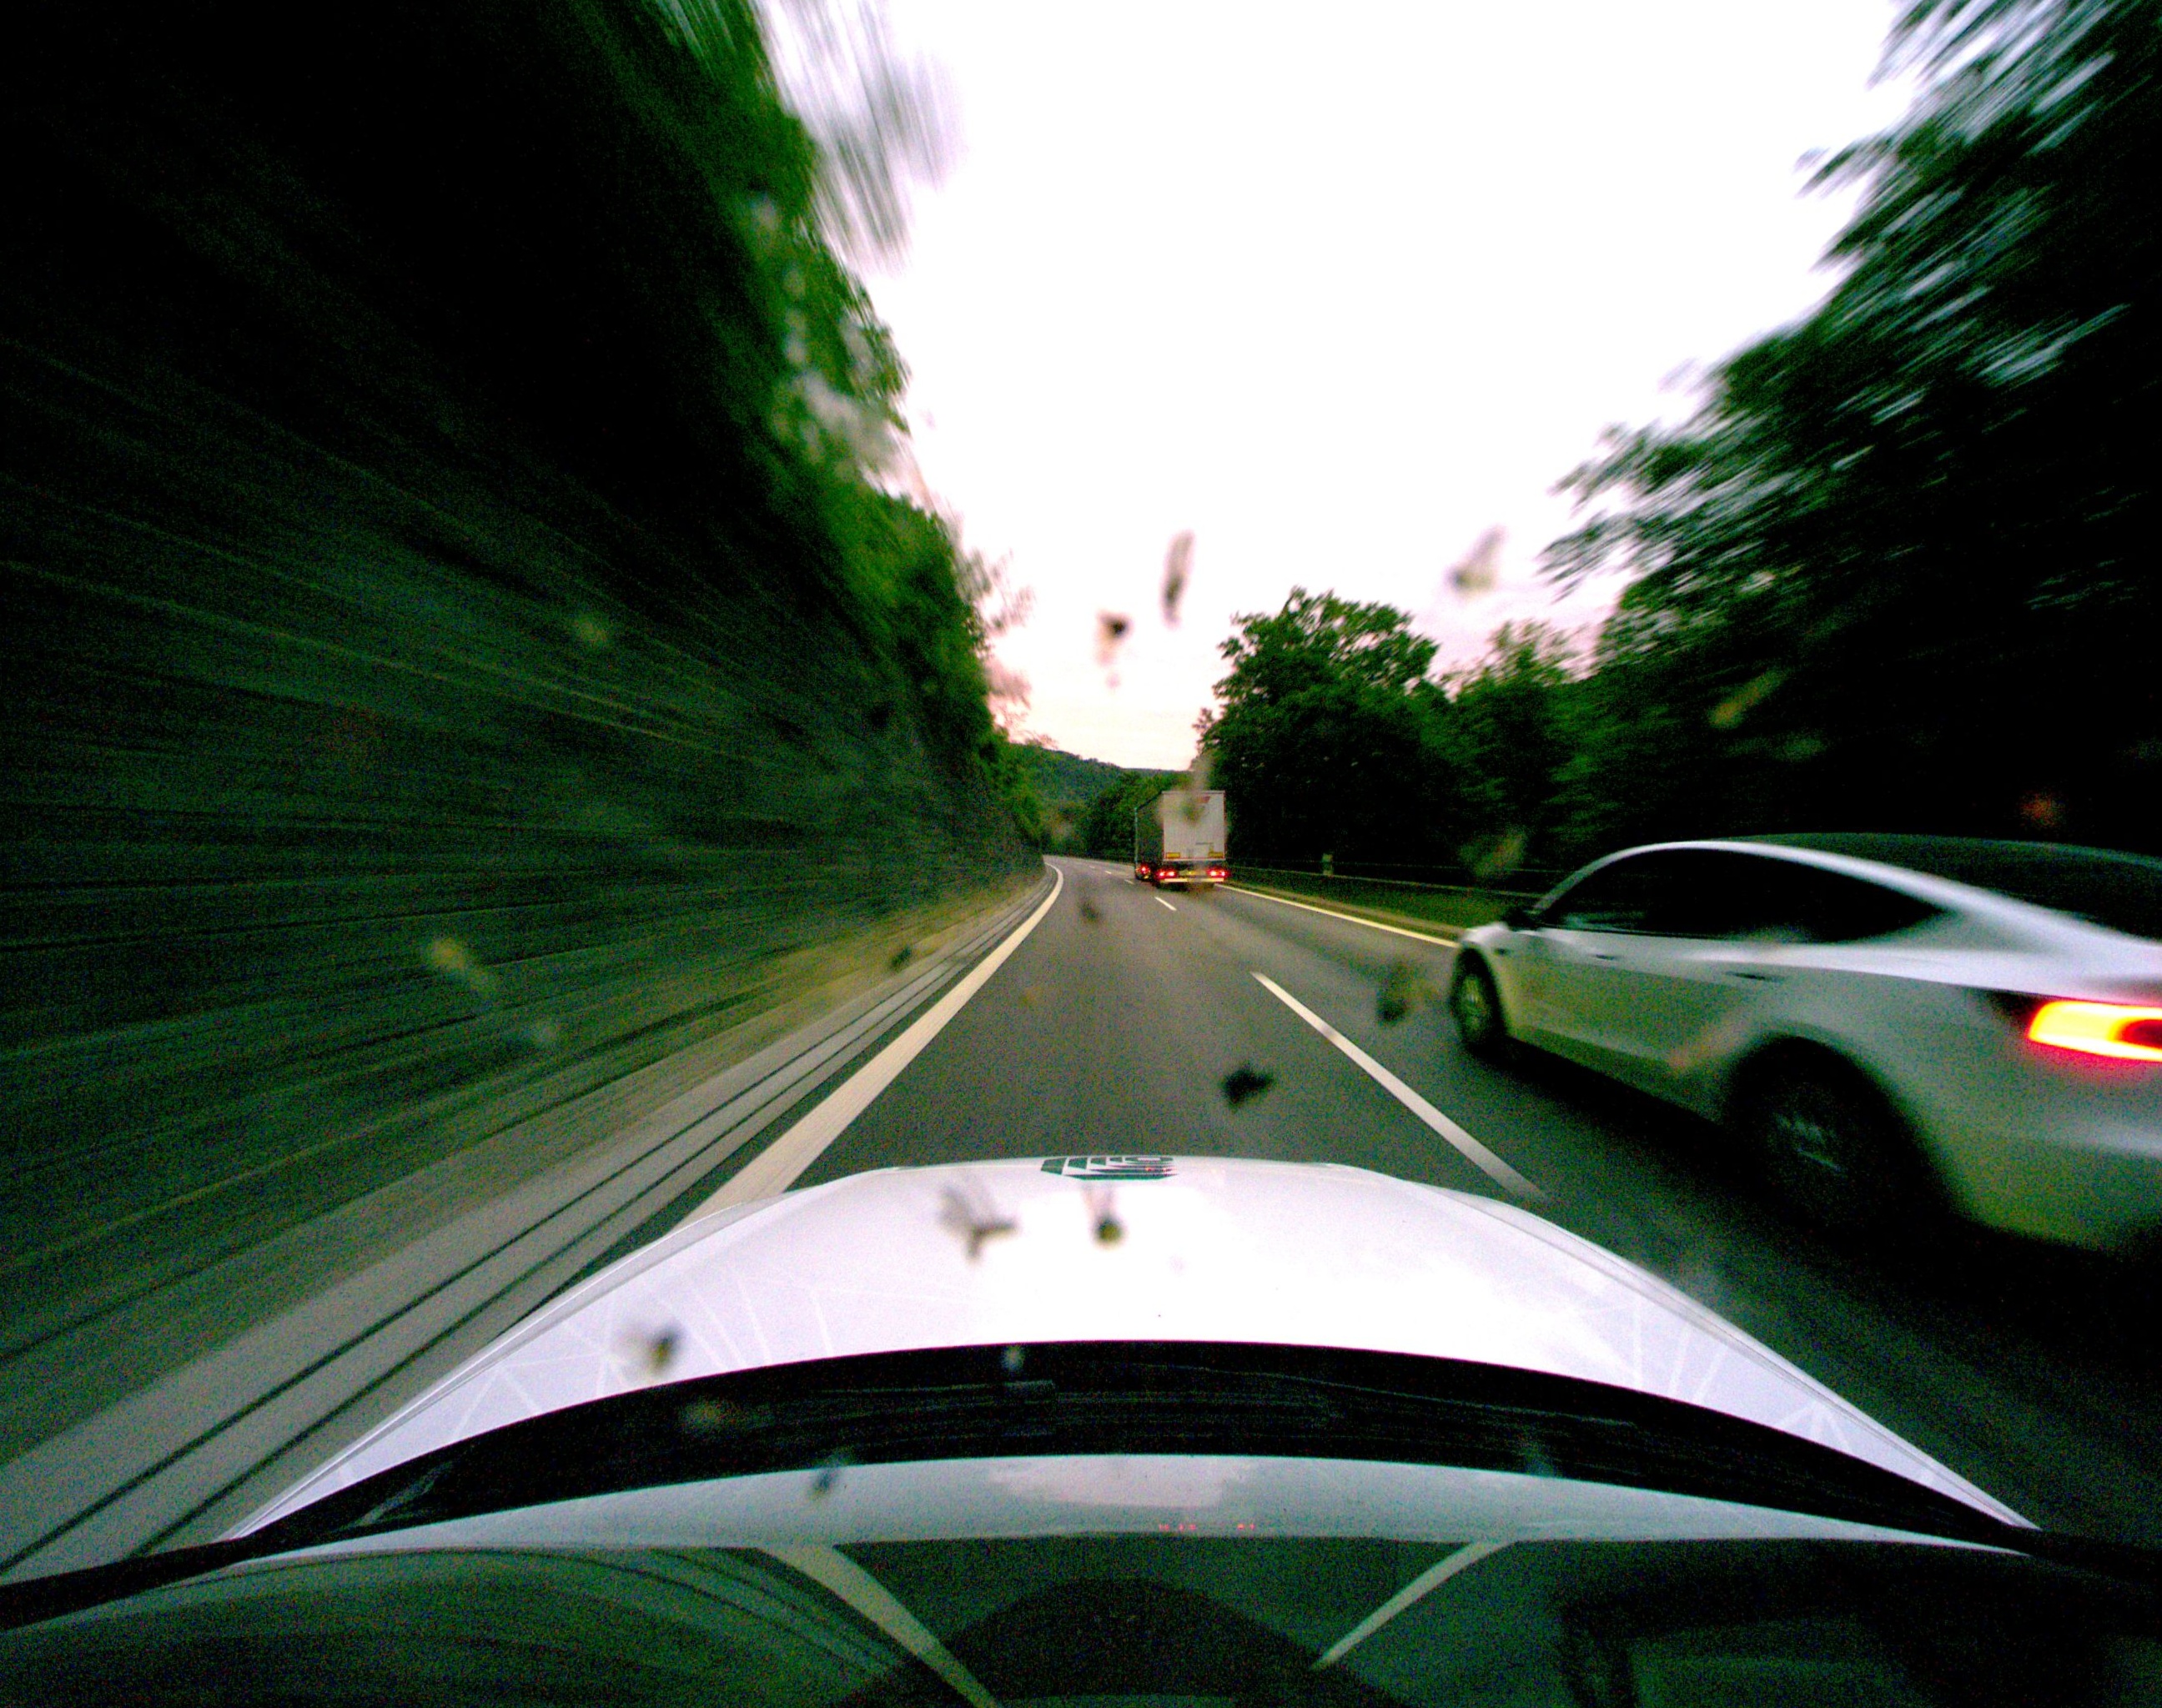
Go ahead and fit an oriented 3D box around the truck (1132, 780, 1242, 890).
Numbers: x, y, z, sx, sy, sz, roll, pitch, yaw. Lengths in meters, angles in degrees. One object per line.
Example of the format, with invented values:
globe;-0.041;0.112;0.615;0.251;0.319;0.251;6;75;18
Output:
truck;4.567;-0.701;39.320;3.284;4.173;16.501;0;0;0

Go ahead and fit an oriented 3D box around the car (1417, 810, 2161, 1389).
car;3.838;0.691;4.689;1.986;1.614;4.867;0;0;2
